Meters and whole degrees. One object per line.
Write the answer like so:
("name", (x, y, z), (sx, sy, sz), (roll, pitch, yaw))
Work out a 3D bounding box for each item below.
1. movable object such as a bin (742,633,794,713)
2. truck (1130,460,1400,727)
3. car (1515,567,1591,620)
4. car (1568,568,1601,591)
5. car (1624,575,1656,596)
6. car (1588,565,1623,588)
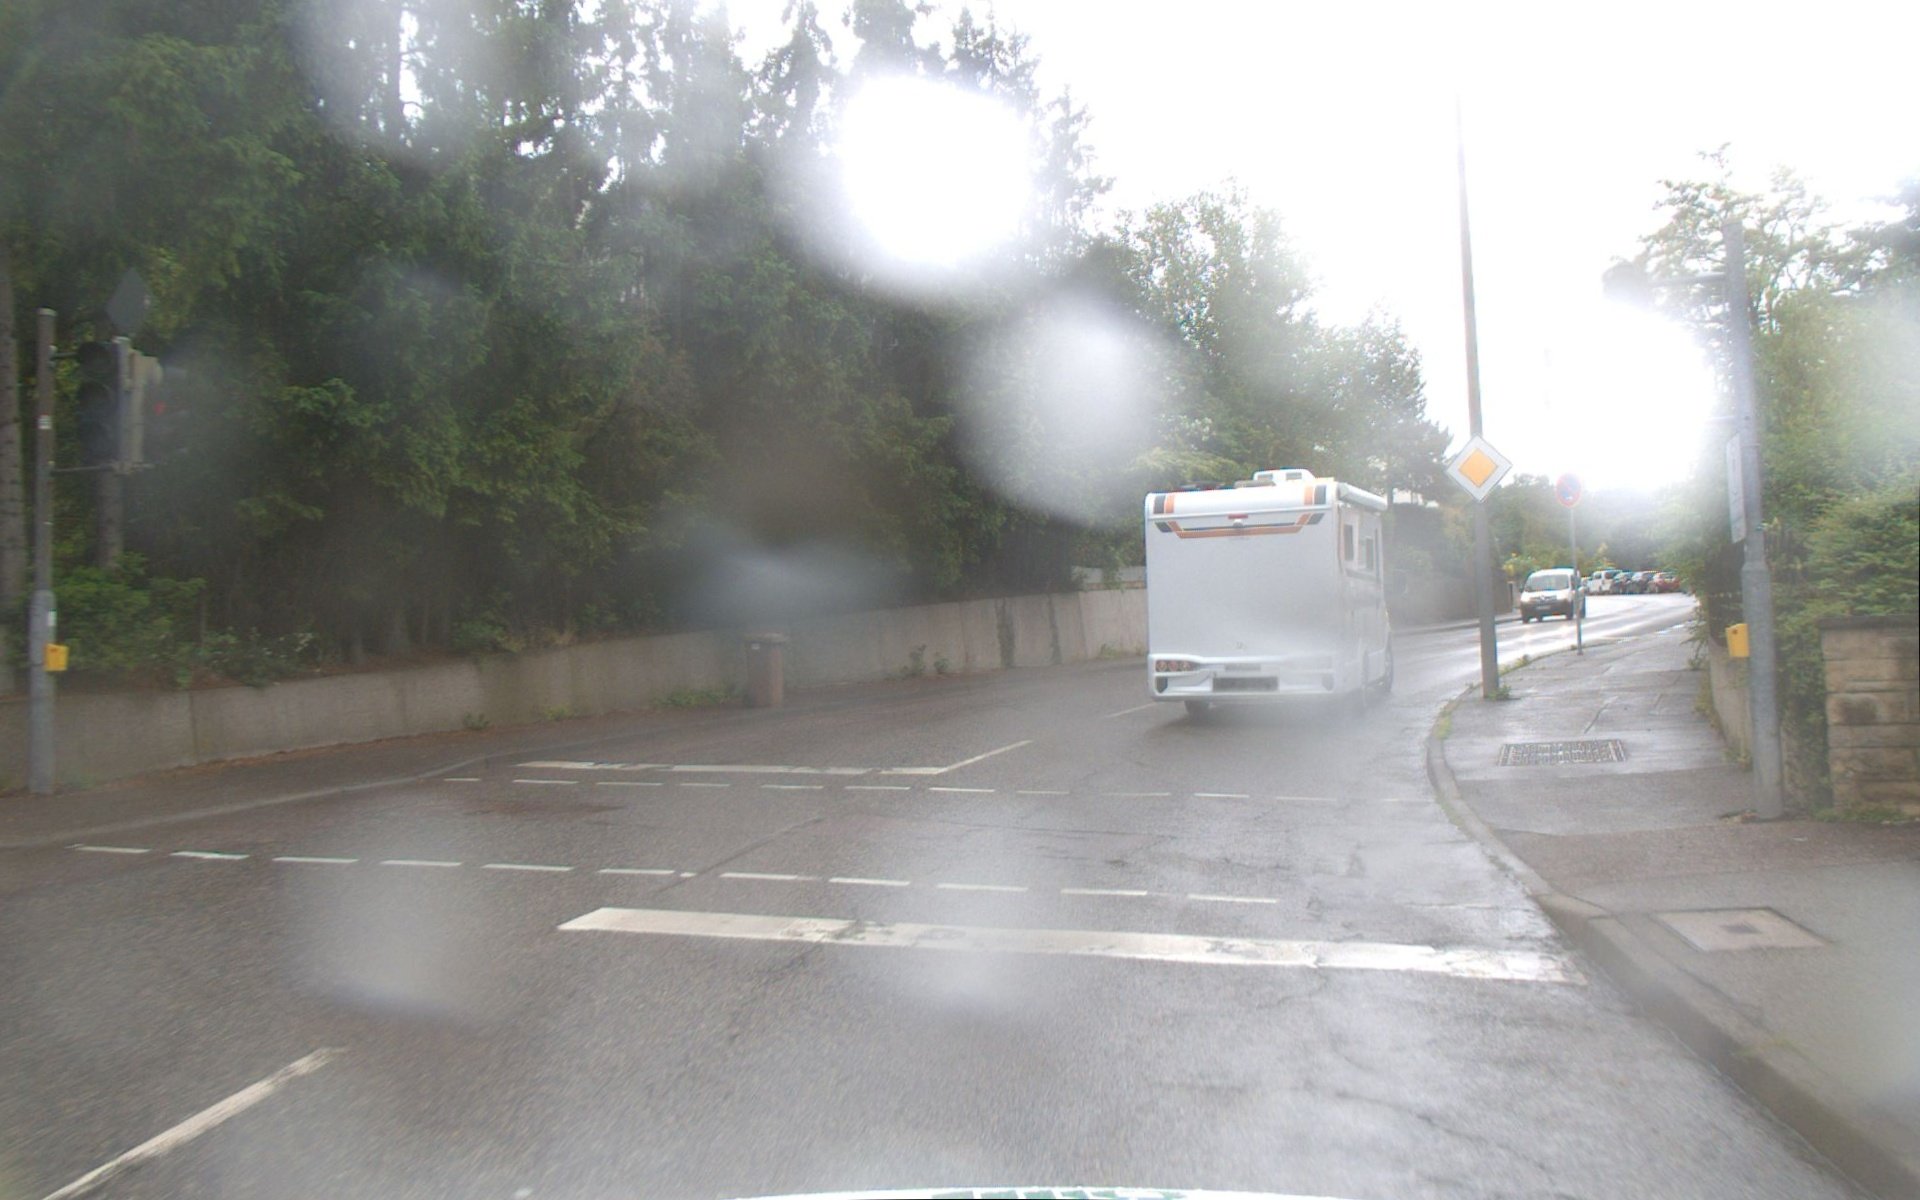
("movable object such as a bin", (-2.484, 0.941, 21.427), (0.489, 0.996, 0.490), (0, 1, 22))
("truck", (4.100, -0.052, 21.097), (2.463, 2.867, 6.203), (-1, 0, 19))
("car", (21.538, -0.264, 59.941), (1.806, 1.786, 4.412), (-1, 1, 30))
("car", (53.181, -1.736, 140.799), (1.611, 1.751, 4.002), (1, -1, 5))
("car", (50.933, -1.094, 123.940), (1.507, 1.350, 4.003), (2, -1, 13))
("car", (52.619, -1.878, 134.929), (1.611, 1.751, 4.002), (1, -1, 5))
